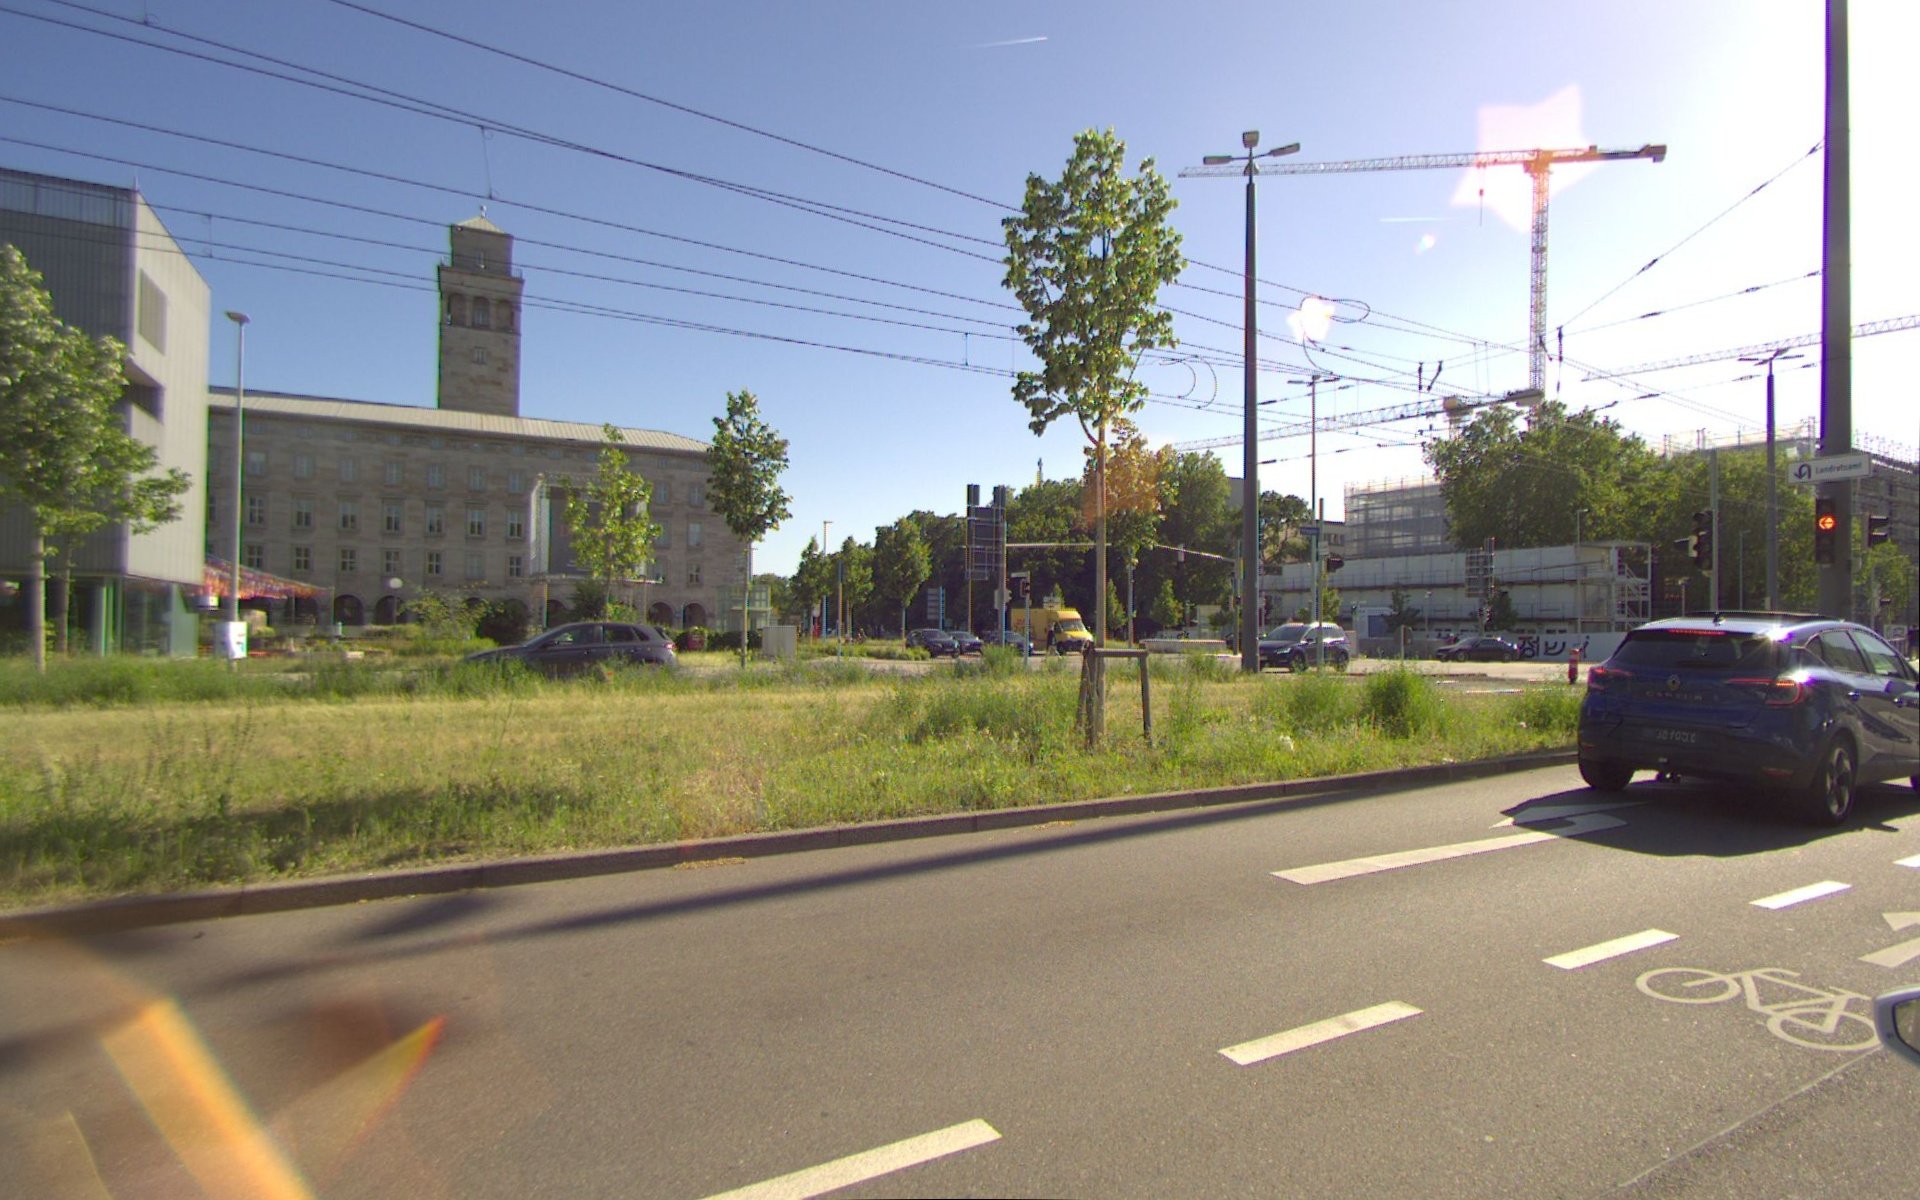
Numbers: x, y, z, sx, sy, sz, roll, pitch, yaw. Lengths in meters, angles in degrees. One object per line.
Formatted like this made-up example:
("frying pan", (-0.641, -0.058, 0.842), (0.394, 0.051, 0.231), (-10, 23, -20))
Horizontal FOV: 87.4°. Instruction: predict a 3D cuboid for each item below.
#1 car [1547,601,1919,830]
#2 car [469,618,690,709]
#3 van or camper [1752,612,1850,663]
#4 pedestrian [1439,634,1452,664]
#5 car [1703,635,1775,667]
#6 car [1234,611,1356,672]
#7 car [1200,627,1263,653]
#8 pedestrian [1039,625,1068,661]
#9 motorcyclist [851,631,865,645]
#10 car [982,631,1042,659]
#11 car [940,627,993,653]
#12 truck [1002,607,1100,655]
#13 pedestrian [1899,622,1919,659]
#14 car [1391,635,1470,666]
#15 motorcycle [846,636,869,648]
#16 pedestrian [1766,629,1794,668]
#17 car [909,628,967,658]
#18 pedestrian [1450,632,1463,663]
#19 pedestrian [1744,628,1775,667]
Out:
("car", (7.279, 0.879, 8.990), (4.041, 1.609, 1.761), (2, 0, -31))
("car", (-7.807, 1.256, 20.661), (4.040, 1.711, 1.818), (1, -1, -28))
("van or camper", (51.848, 2.290, 61.858), (7.261, 2.976, 2.591), (2, -2, -32))
("pedestrian", (30.227, 3.037, 62.498), (0.687, 1.847, 0.595), (0, -1, 22))
("car", (44.764, 2.913, 57.712), (4.319, 1.730, 1.935), (2, -2, -32))
("car", (11.483, 1.417, 34.422), (3.954, 1.981, 1.861), (1, -1, -31))
("car", (17.889, 2.634, 66.322), (1.973, 1.622, 3.975), (1, -2, -25))
("pedestrian", (4.559, 2.074, 48.929), (0.936, 1.708, 1.186), (0, 0, -30))
("motorcyclist", (-8.506, 3.159, 83.829), (0.785, 1.096, 1.012), (2, -2, -28))
("car", (3.023, 2.617, 59.083), (1.878, 1.559, 3.976), (2, -2, -25))
("car", (0.391, 2.539, 63.674), (1.878, 1.559, 3.976), (2, -2, -25))
("truck", (5.533, 1.894, 62.529), (2.429, 2.829, 7.985), (2, -2, -25))
("pedestrian", (48.383, 2.063, 51.047), (0.966, 1.847, 0.795), (1, -1, -33))
("car", (26.850, 2.874, 57.427), (3.921, 1.622, 2.000), (0, -2, 20))
("motorcycle", (-8.546, 3.495, 83.858), (0.784, 0.922, 3.235), (2, -3, -27))
("pedestrian", (39.199, 2.294, 48.008), (0.966, 1.847, 0.795), (1, -1, -33))
("car", (-1.281, 2.433, 57.166), (1.878, 1.559, 3.976), (2, -2, -25))
("pedestrian", (29.856, 2.847, 60.414), (0.687, 1.847, 0.595), (0, -1, 22))
("pedestrian", (37.731, 2.232, 47.414), (0.864, 1.847, 0.803), (1, -1, 2))
